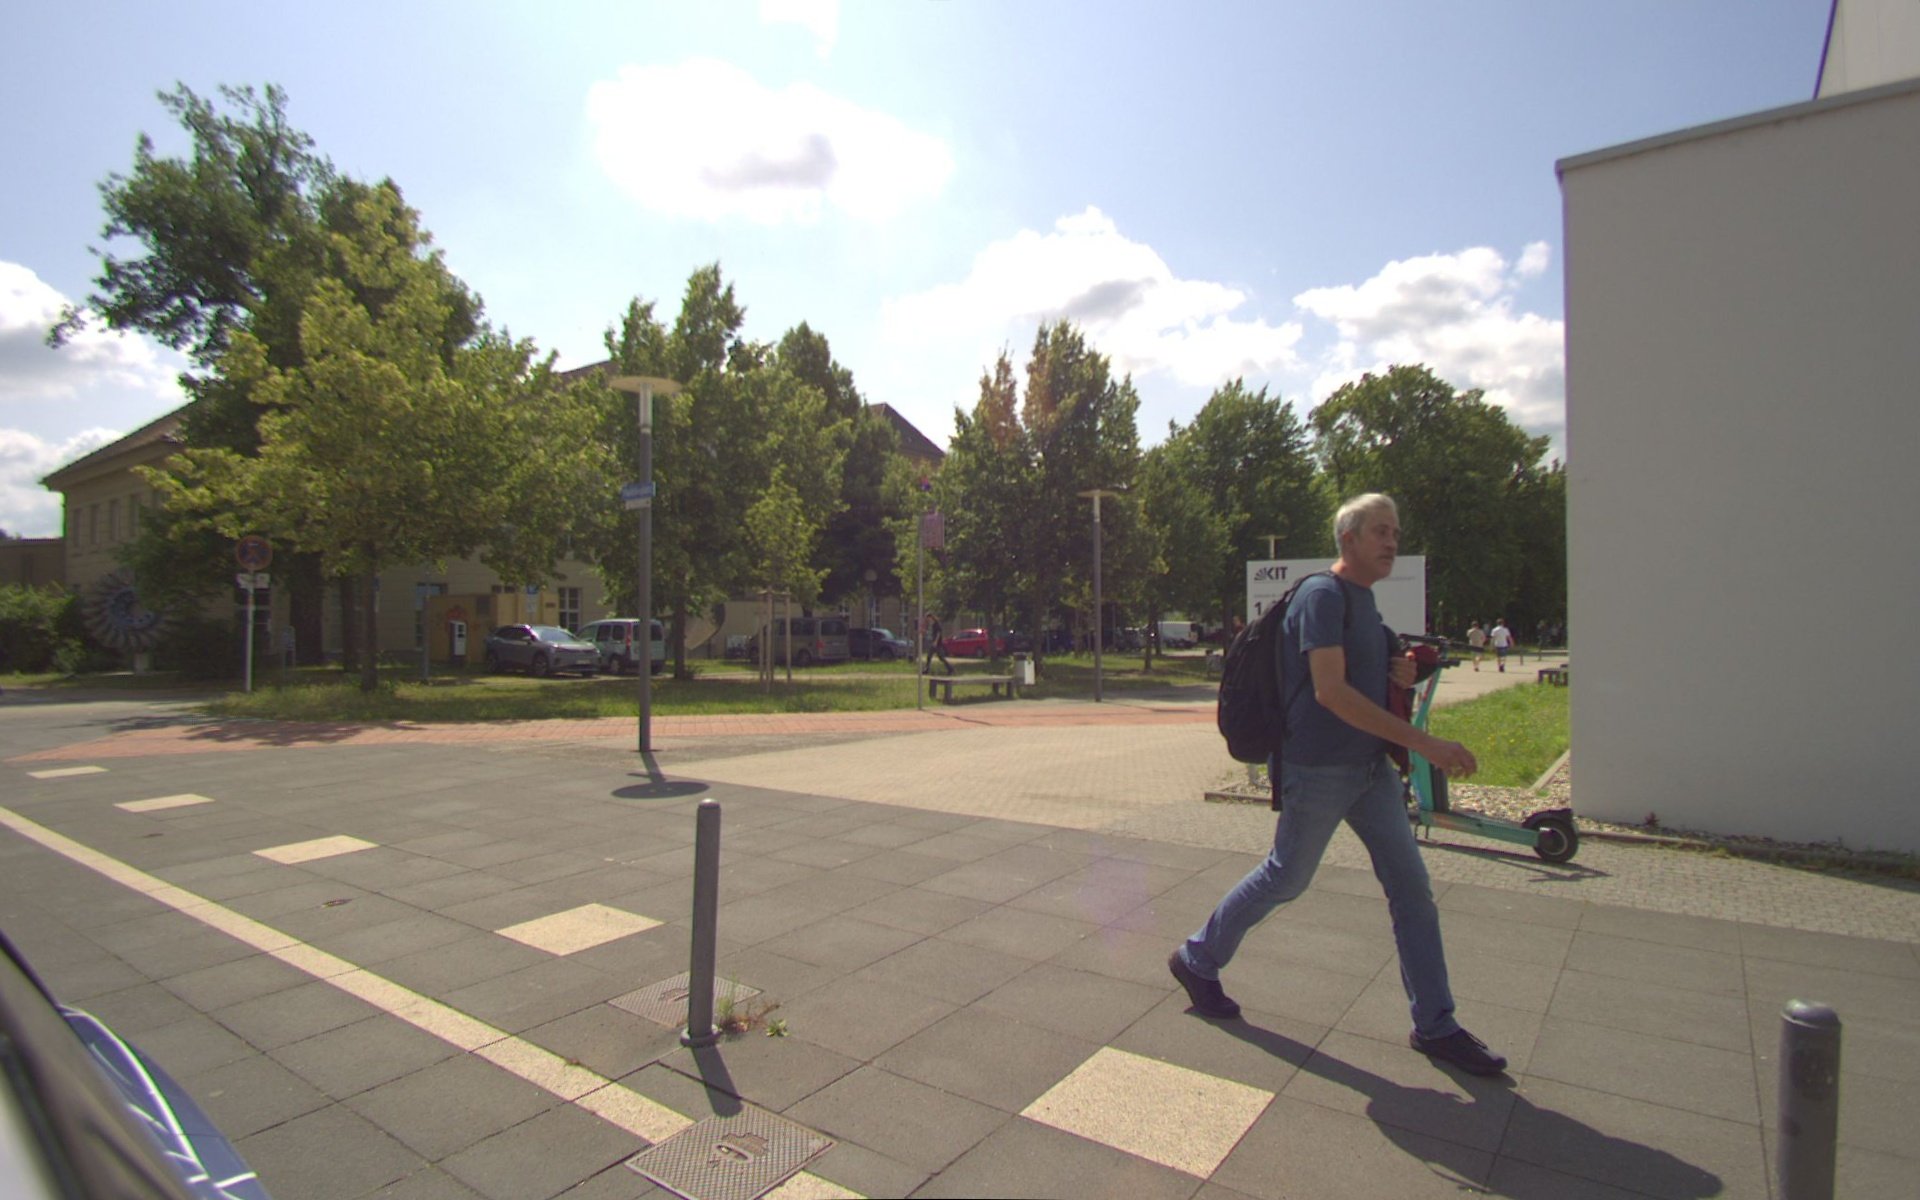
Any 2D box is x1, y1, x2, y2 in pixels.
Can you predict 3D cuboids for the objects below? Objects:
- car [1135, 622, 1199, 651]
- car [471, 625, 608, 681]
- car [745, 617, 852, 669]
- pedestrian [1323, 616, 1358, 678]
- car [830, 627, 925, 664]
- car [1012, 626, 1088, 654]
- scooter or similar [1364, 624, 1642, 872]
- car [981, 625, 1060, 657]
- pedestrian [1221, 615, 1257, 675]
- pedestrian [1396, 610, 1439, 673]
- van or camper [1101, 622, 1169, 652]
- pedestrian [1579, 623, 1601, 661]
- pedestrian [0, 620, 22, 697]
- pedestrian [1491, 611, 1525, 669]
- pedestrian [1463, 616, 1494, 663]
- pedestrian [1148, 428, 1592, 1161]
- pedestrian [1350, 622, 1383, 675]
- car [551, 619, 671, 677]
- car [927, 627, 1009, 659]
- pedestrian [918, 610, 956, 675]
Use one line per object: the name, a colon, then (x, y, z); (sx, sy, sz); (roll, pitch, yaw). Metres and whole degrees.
car: (14.753, 2.596, 72.344); (4.116, 1.958, 1.791); (0, -2, 36)
car: (-13.437, 1.639, 32.238); (4.640, 1.593, 1.877); (0, -2, 36)
car: (-6.675, 1.719, 41.576); (4.523, 1.975, 1.789); (0, -2, 40)
pedestrian: (10.772, 1.314, 28.612); (0.748, 1.710, 0.877); (-2, -2, 32)
car: (-3.741, 2.028, 45.728); (4.116, 1.553, 1.791); (0, -2, 36)
car: (5.300, 2.345, 59.795); (4.116, 1.553, 1.791); (0, -2, 36)
scooter or similar: (3.098, 0.781, 5.868); (0.476, 1.272, 1.315); (1, -2, -41)
car: (3.387, 2.285, 56.724); (4.116, 1.679, 1.791); (0, -2, 36)
pedestrian: (8.879, 1.423, 32.257); (0.657, 1.906, 0.858); (1, -2, -37)
pedestrian: (12.461, 1.121, 27.582); (0.720, 1.666, 0.802); (1, -2, -37)
van or camper: (11.526, 2.423, 66.646); (4.074, 1.900, 1.791); (0, -2, 36)
pedestrian: (28.216, 1.868, 45.345); (0.725, 1.706, 0.551); (-2, -2, 40)
pedestrian: (-21.929, 1.325, 22.833); (0.956, 1.729, 0.559); (0, -2, -24)
pedestrian: (18.385, 1.342, 33.955); (0.824, 1.898, 0.754); (-2, -2, 39)
pedestrian: (17.582, 1.337, 34.306); (0.757, 1.574, 0.721); (-2, -2, 39)
pedestrian: (1.288, 0.498, 3.195); (1.140, 1.831, 0.817); (-1, -2, 31)
pedestrian: (12.458, 1.483, 31.018); (0.746, 1.593, 0.845); (-2, -2, 35)
car: (-11.816, 1.583, 34.172); (4.116, 1.799, 1.791); (0, -2, 36)
car: (0.387, 2.241, 52.975); (4.120, 1.553, 1.789); (0, -2, 39)
pedestrian: (-0.668, 1.205, 28.892); (0.858, 1.800, 0.638); (2, 2, -17)
